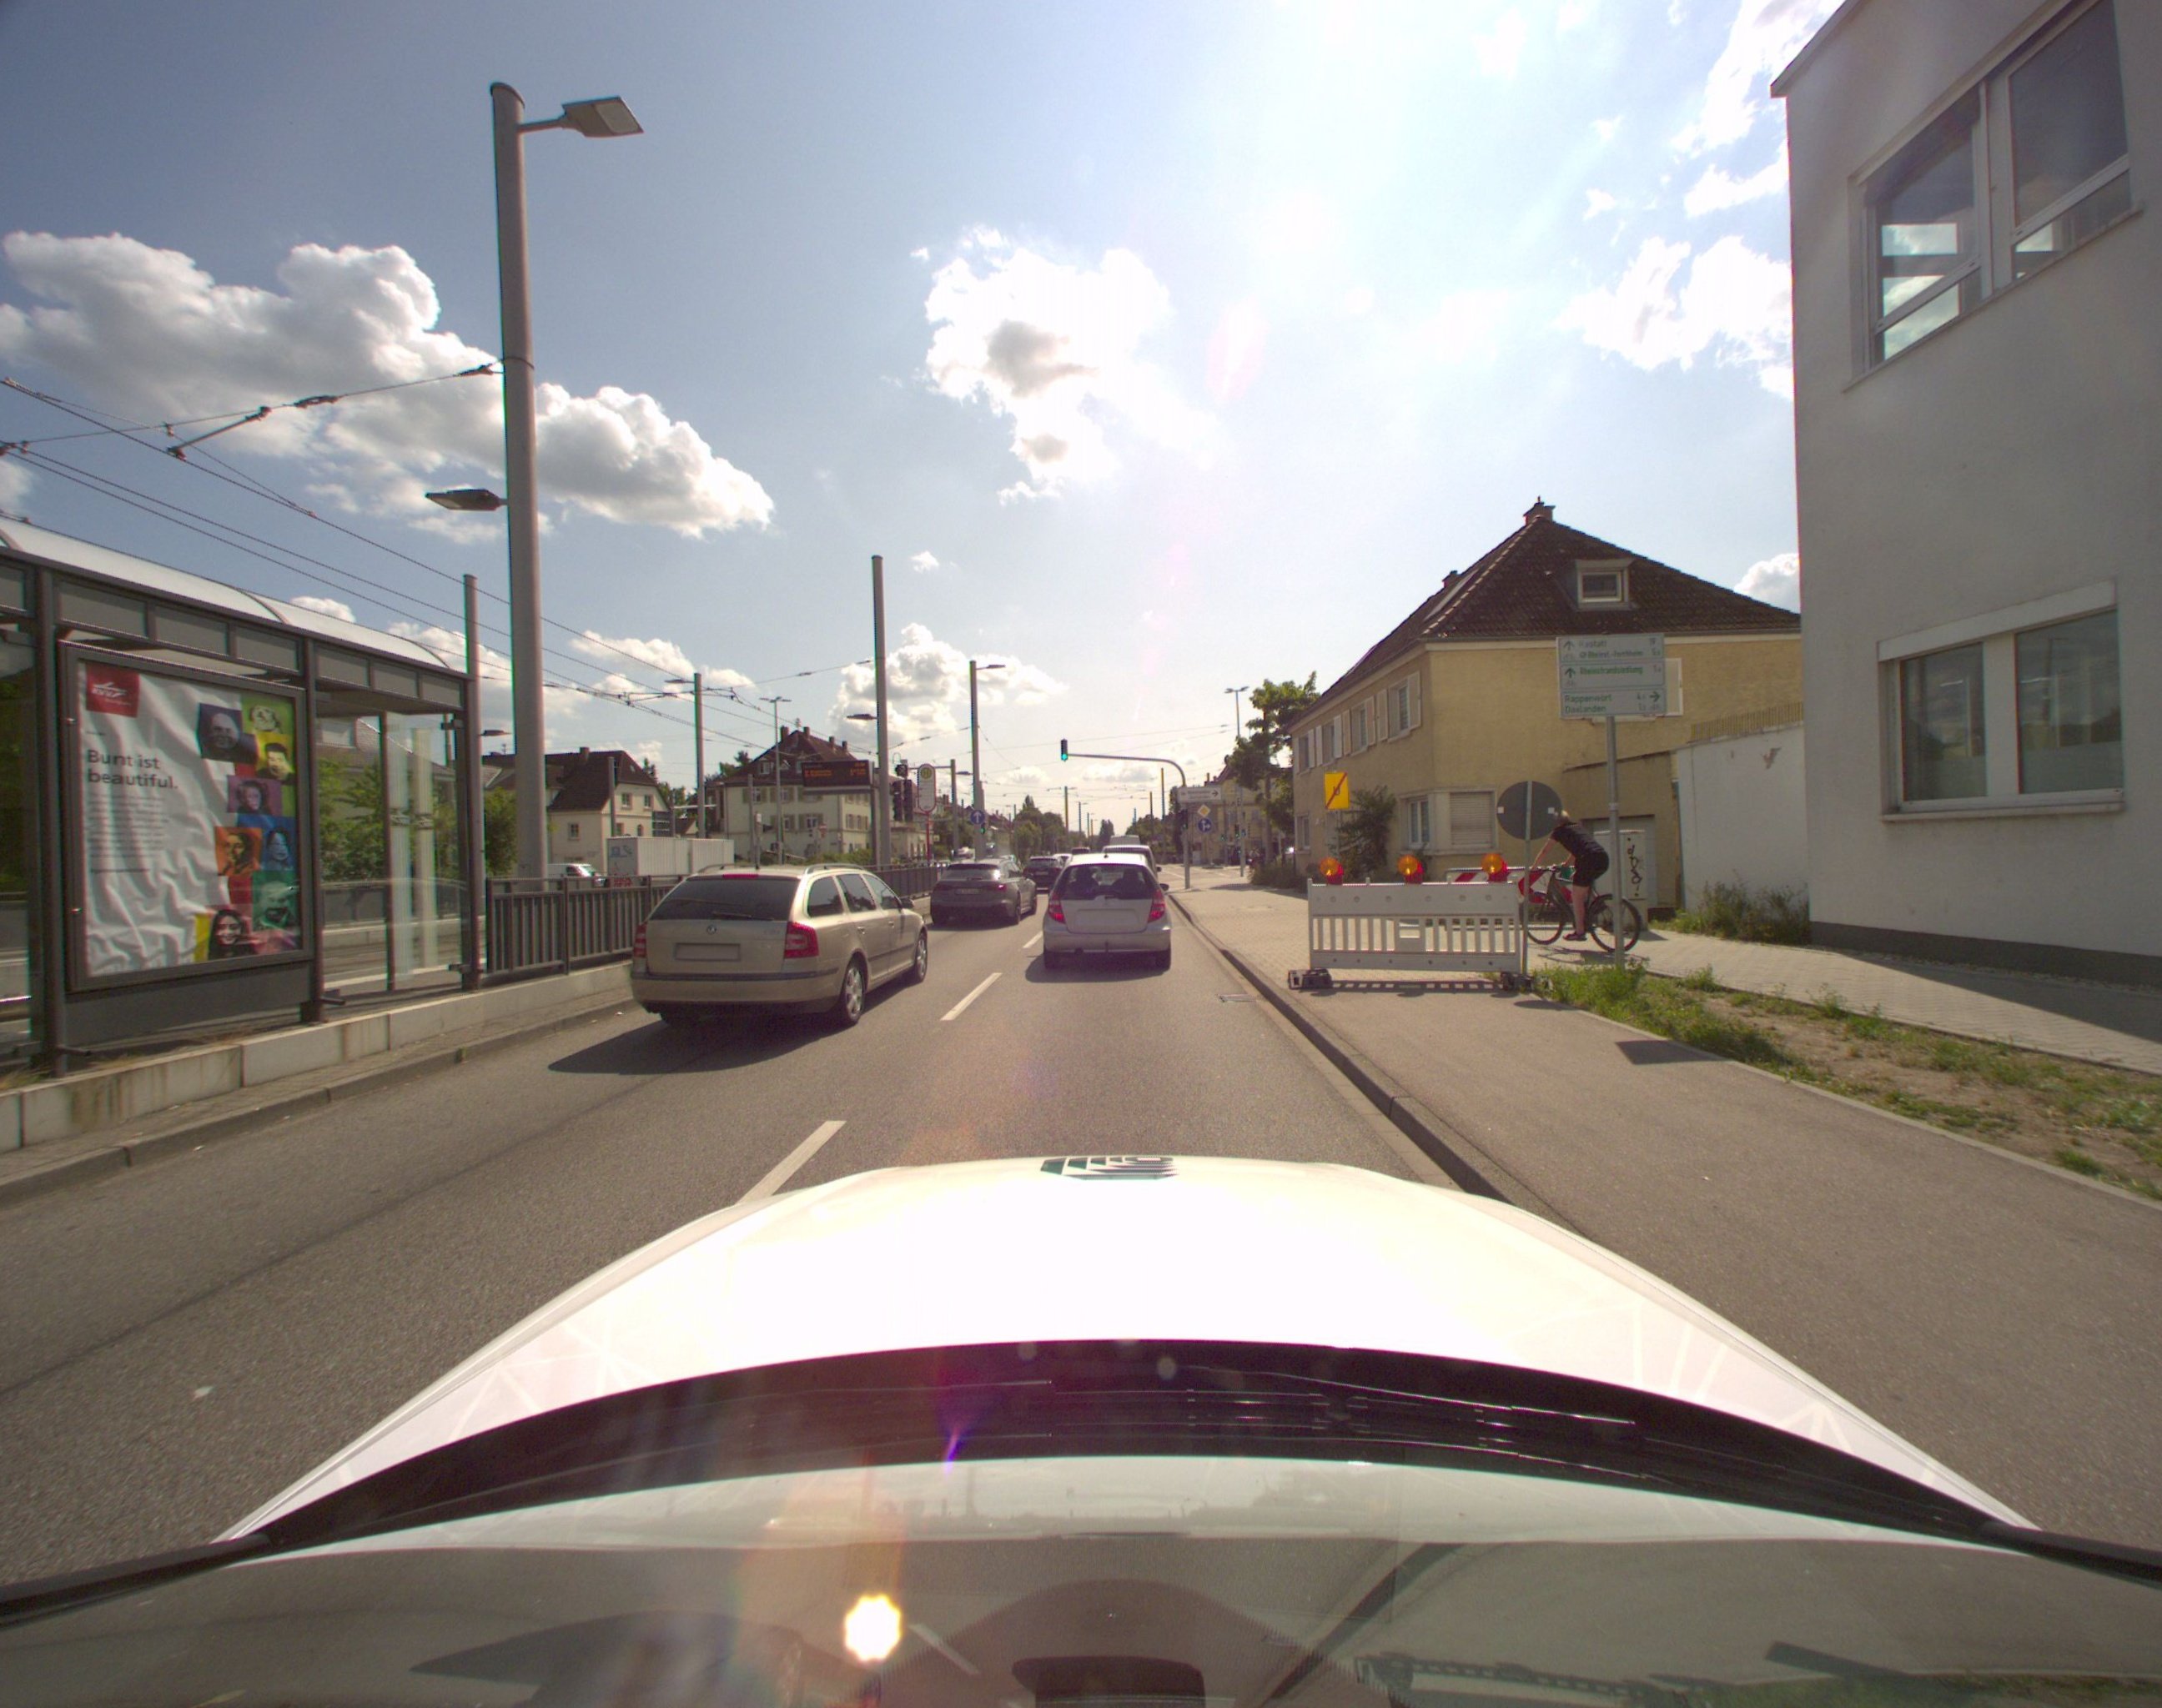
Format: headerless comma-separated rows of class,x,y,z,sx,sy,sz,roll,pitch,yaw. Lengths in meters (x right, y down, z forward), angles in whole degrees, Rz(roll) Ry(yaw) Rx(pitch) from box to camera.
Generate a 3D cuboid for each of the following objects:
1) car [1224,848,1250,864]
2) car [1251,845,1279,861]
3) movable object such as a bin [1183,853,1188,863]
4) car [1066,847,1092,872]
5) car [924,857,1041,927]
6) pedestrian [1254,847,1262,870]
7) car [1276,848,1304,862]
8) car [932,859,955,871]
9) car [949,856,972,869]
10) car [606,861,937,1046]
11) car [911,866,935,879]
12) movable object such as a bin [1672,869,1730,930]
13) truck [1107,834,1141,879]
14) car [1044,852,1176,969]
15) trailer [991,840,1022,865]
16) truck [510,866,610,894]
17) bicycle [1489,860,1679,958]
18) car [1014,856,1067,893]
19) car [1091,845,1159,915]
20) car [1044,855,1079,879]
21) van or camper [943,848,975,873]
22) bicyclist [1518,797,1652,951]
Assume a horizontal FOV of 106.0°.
car,15.364,0.215,80.472,1.985,1.596,4.134,0,-1,3
car,18.184,-0.084,80.549,1.985,1.596,4.134,0,-1,3
movable object such as a bin,11.757,0.466,91.344,0.509,1.105,0.856,-1,-1,3
car,-0.134,0.399,62.222,1.846,1.843,3.919,0,-1,1
car,-2.209,0.818,19.577,1.907,1.477,4.568,0,0,5
pedestrian,13.245,0.336,60.951,0.544,1.643,0.402,0,-1,7
car,20.629,0.150,80.552,1.860,1.351,4.134,0,-1,3
car,-15.837,1.266,94.181,1.677,1.351,4.349,0,-1,3
car,-12.898,0.946,87.444,1.677,1.351,4.181,0,-1,3
car,-2.797,0.803,8.459,1.724,1.449,4.125,0,-1,2
car,-16.772,1.965,86.597,1.678,1.351,4.345,0,-1,1
movable object such as a bin,11.296,0.817,14.851,0.609,1.087,0.669,-1,-1,12
truck,2.566,0.183,49.877,1.846,2.552,5.856,0,-1,1
car,0.404,0.763,12.680,1.724,1.517,4.016,0,-1,1
trailer,-12.134,-0.329,133.661,2.587,3.821,12.855,-4,0,5
truck,-36.796,1.829,57.568,6.155,1.922,1.692,0,-1,5
bicycle,6.288,0.635,10.332,0.830,1.075,1.960,-3,0,-16
car,-1.596,0.798,33.301,1.846,1.388,4.515,0,-1,1
car,1.153,0.676,22.721,1.724,1.762,4.016,0,-1,1
car,-1.116,0.756,48.490,1.846,1.388,3.919,0,-1,1
van or camper,-15.169,0.748,101.864,2.314,2.930,7.761,-2,0,3
bicyclist,6.301,0.234,10.228,0.830,1.793,1.077,-3,0,-17
